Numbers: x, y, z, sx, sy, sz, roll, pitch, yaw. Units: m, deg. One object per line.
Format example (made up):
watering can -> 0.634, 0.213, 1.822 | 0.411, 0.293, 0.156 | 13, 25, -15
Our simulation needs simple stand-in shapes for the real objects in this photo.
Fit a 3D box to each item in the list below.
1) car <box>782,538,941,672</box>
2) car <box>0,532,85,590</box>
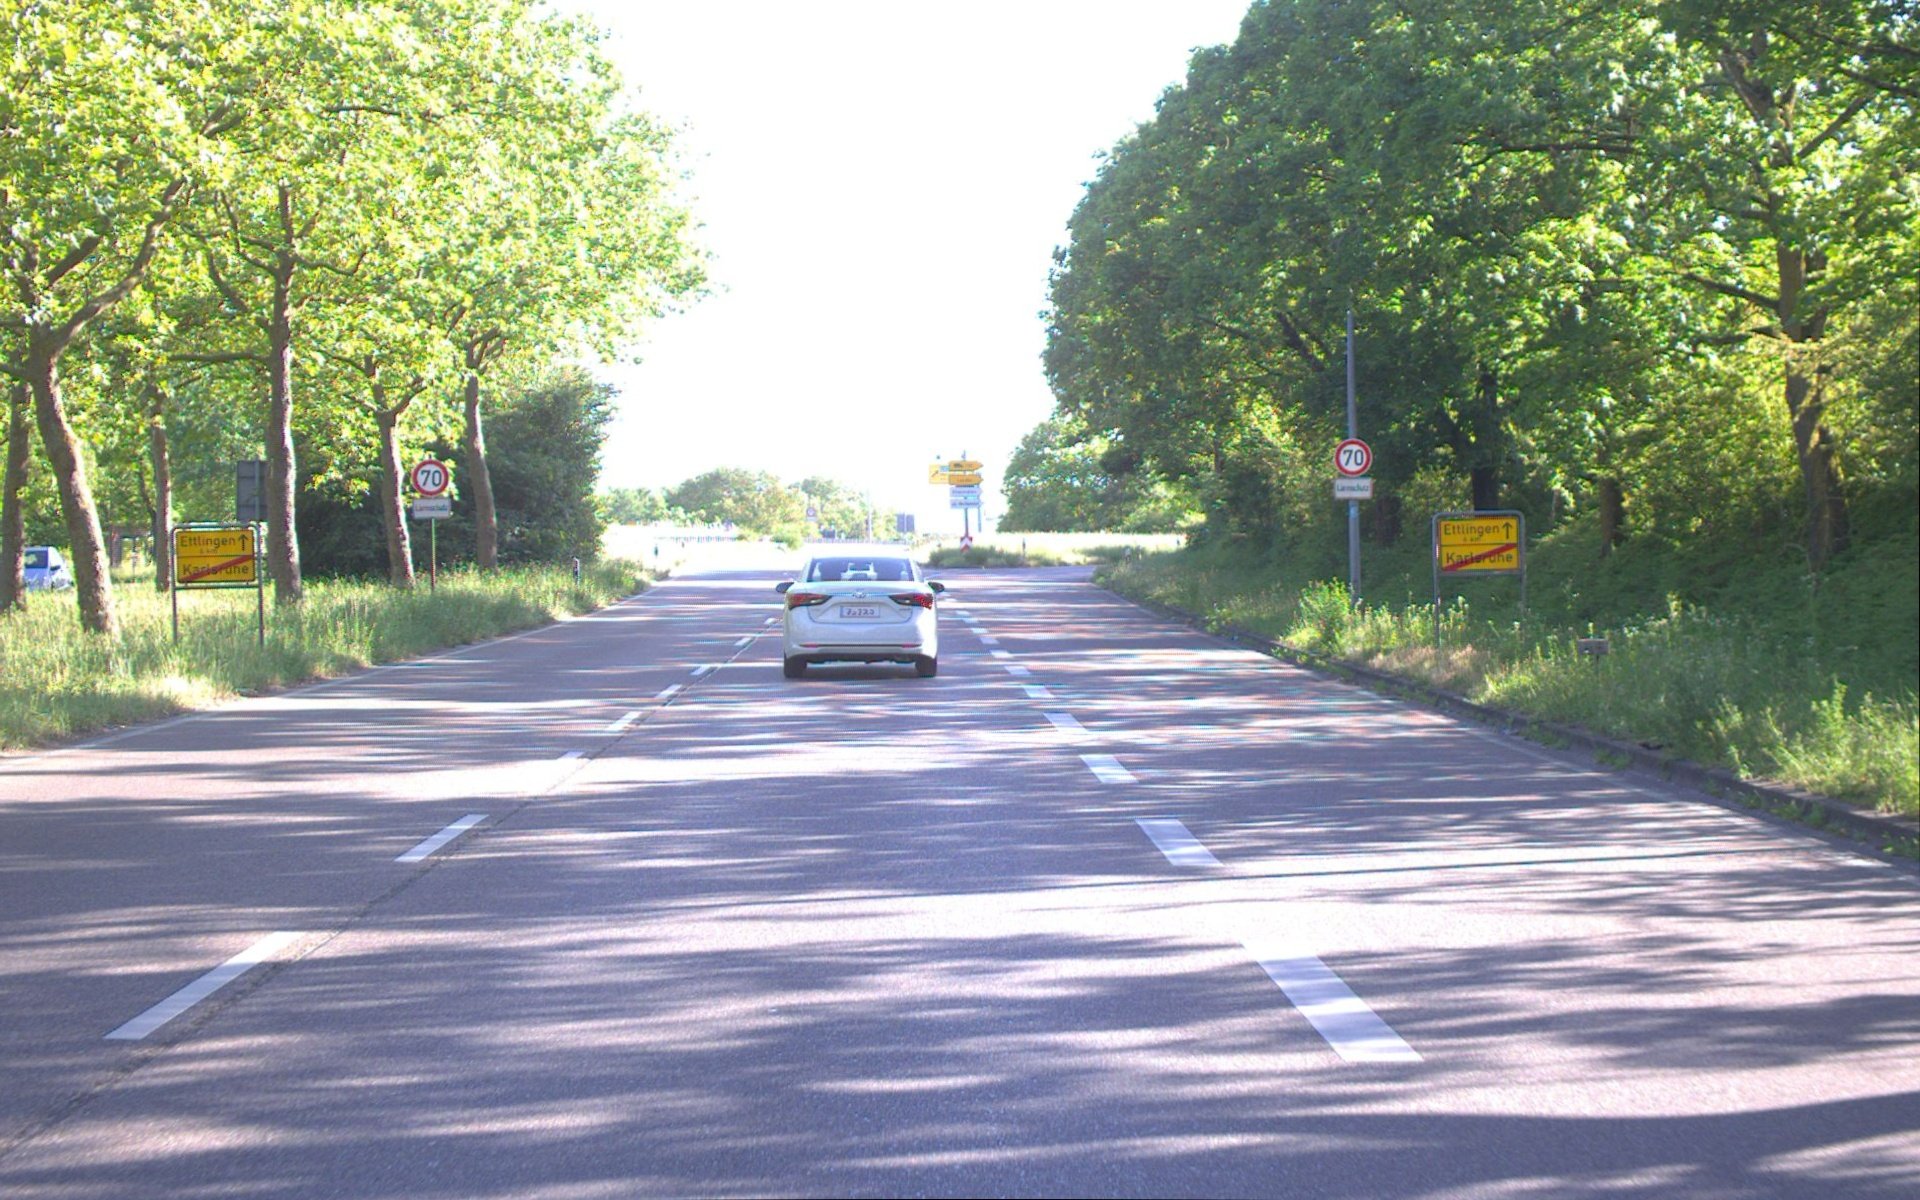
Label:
car -> -1.141, 0.017, 40.734 | 1.767, 1.459, 4.366 | -1, 1, -1
car -> -24.170, -1.026, 89.410 | 1.767, 1.459, 4.366 | -1, 1, -1
